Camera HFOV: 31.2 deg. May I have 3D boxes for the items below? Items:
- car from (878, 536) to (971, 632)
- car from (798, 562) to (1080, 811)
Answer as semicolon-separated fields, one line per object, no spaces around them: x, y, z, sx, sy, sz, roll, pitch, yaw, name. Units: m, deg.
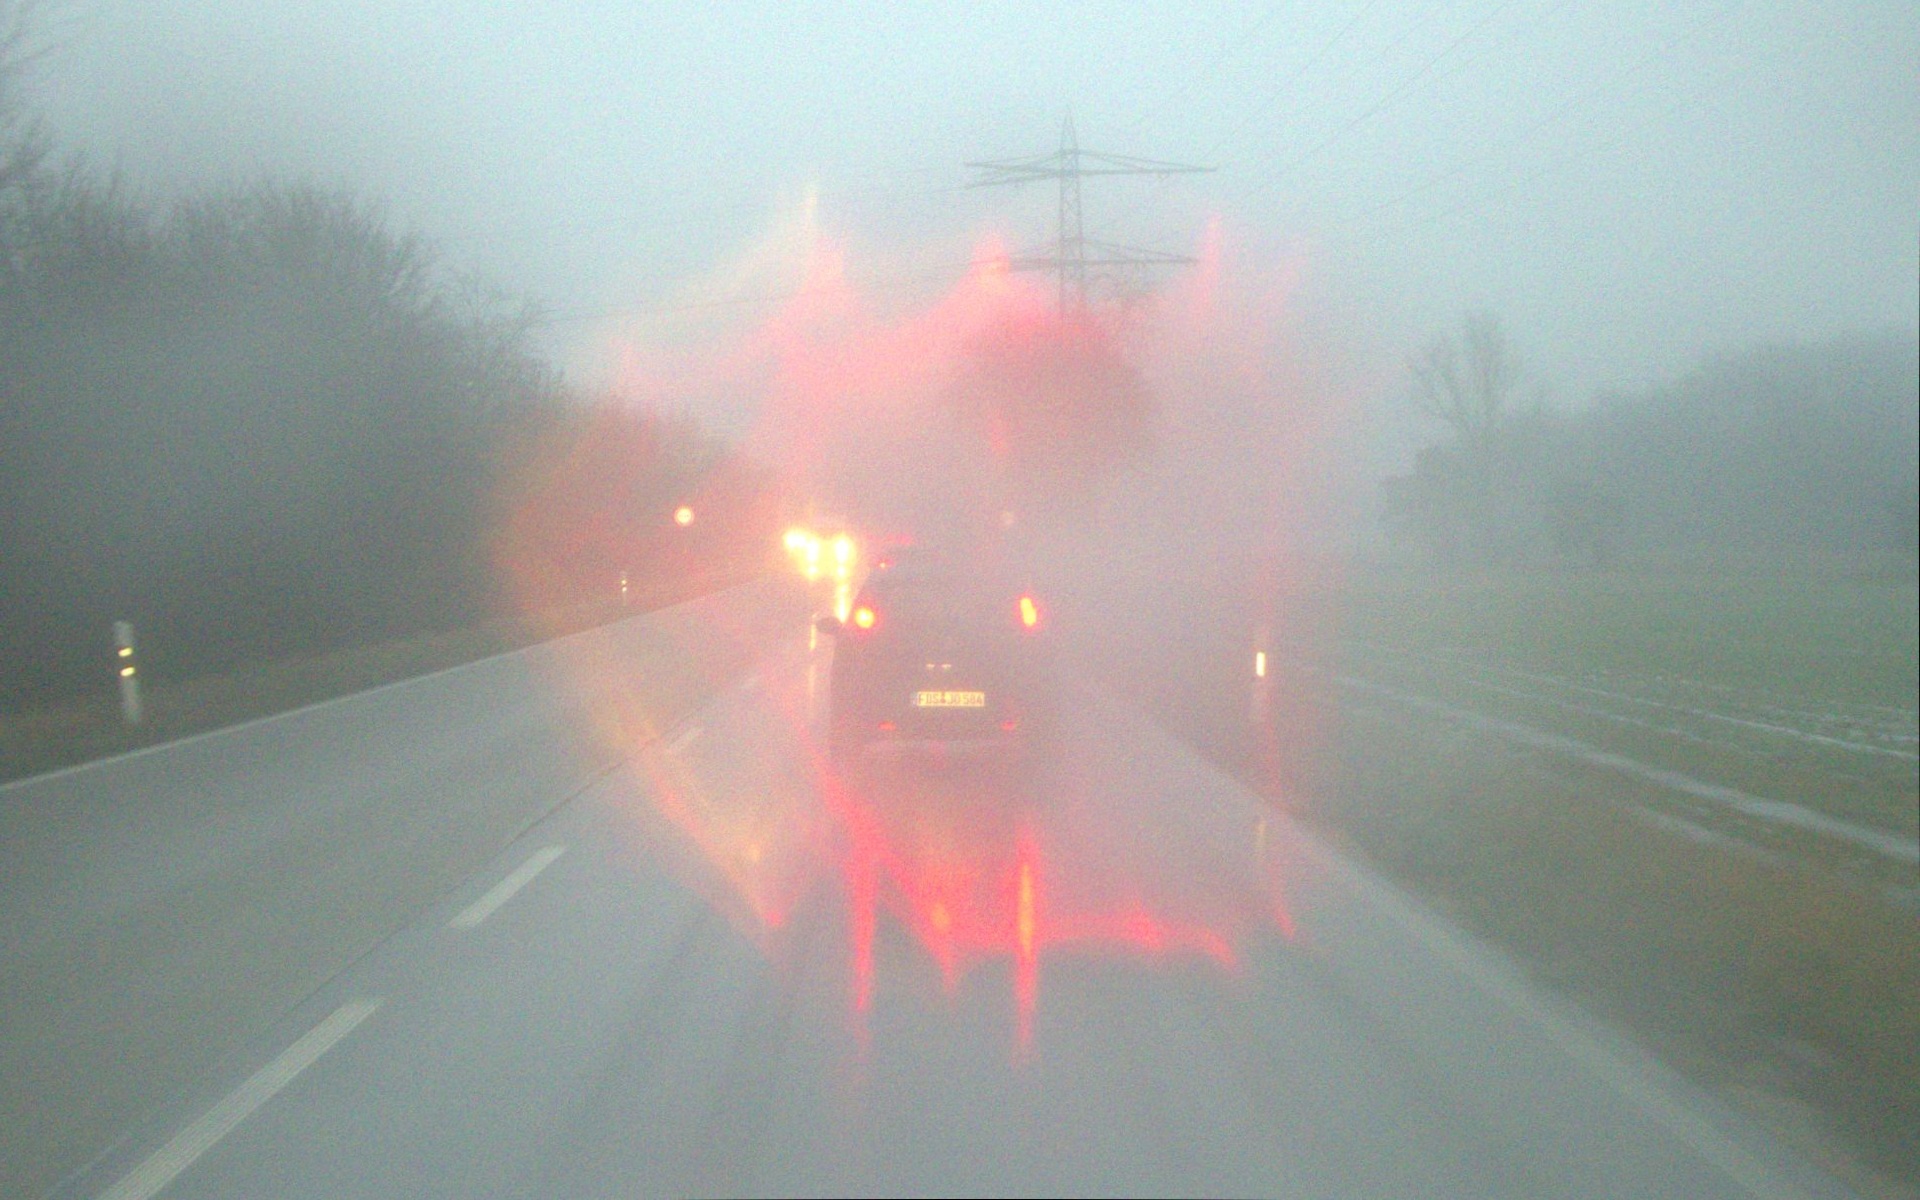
-0.776;-0.374;75.888;1.993;2.006;4.000;0;2;0;car
-0.180;0.591;26.390;1.993;1.746;4.000;0;1;-1;car
